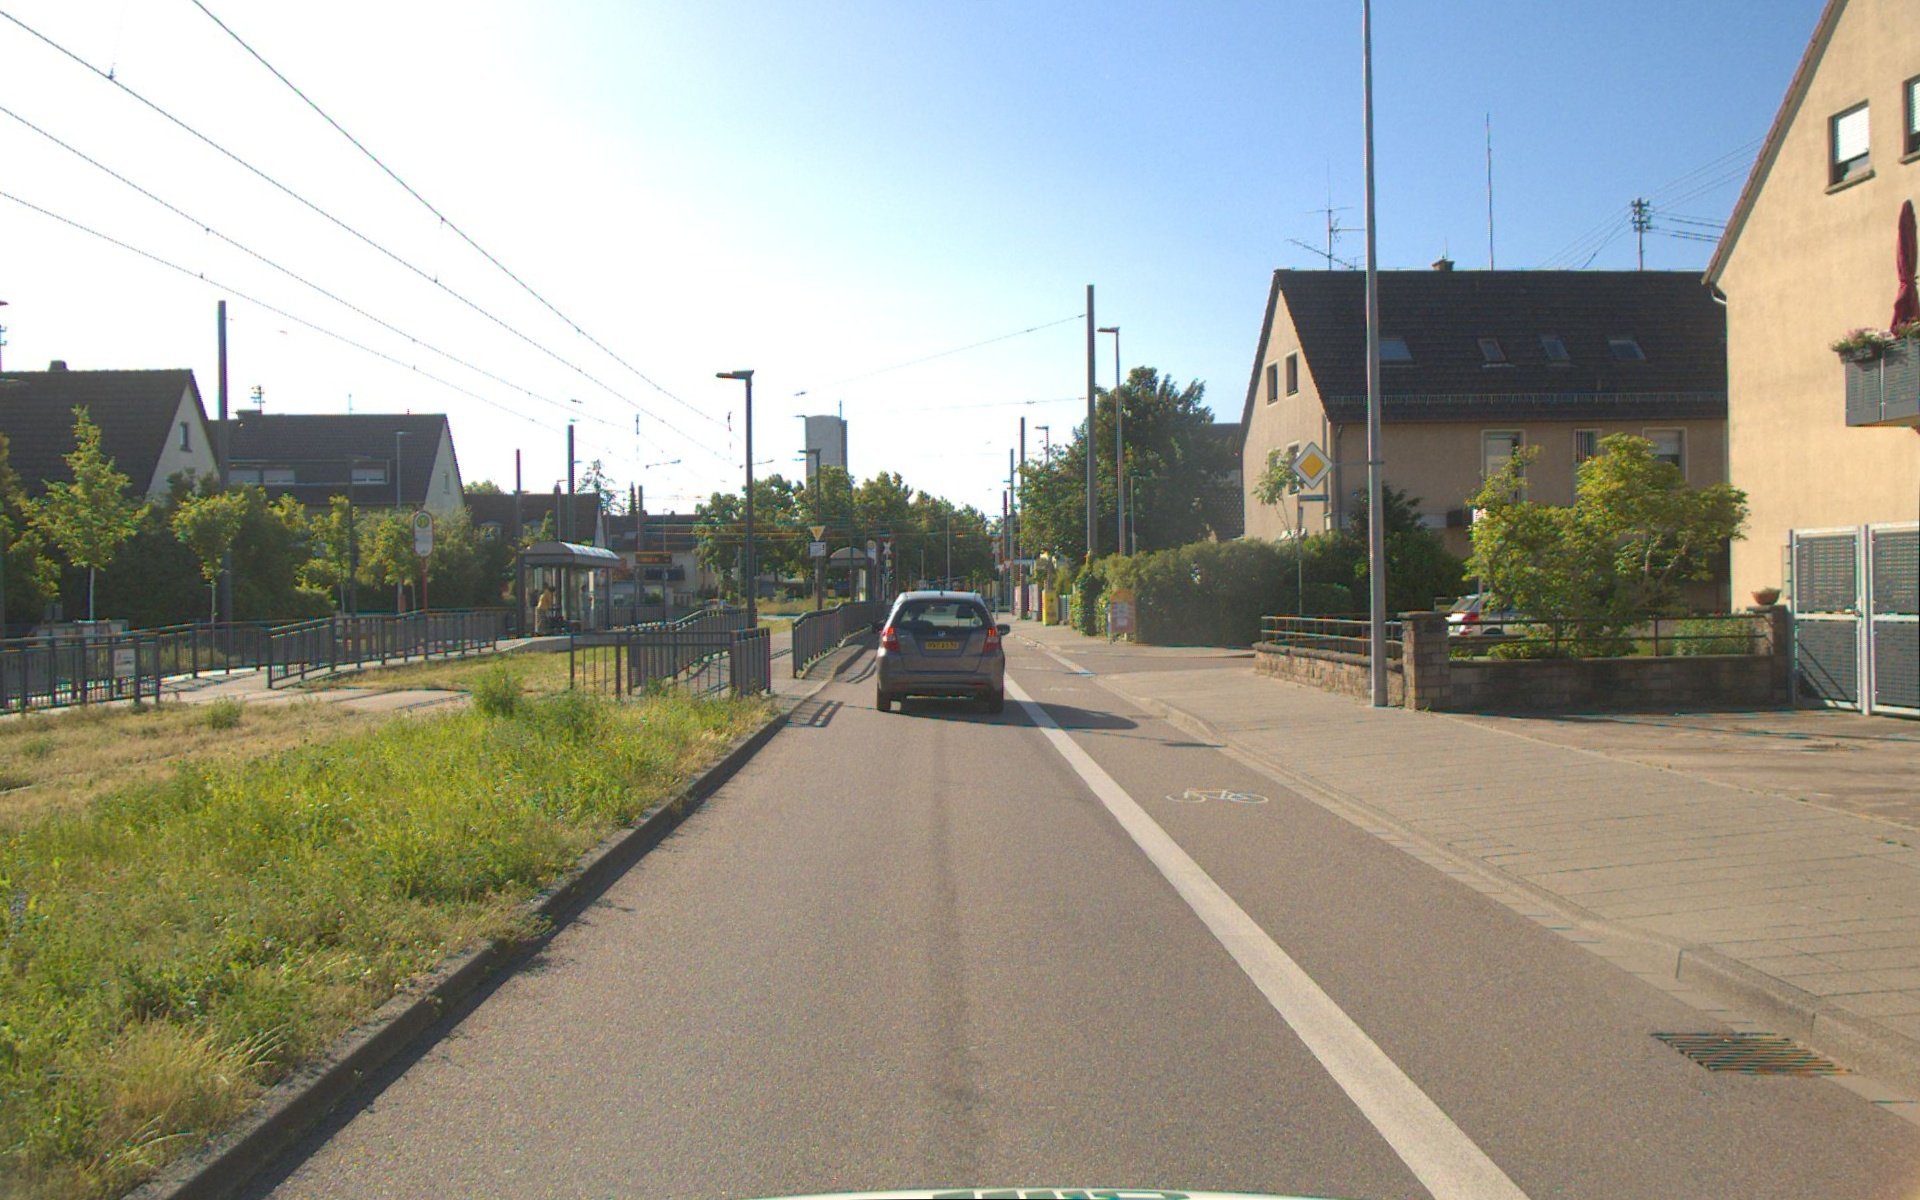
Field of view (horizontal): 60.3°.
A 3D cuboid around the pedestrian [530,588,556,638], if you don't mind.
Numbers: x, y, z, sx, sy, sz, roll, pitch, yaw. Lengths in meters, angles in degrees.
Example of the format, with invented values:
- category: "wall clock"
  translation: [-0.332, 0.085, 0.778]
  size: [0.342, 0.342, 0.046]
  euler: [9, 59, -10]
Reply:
- category: "pedestrian"
  translation: [-13.407, 0.415, 53.136]
  size: [0.662, 1.562, 0.748]
  euler: [-1, 0, -5]

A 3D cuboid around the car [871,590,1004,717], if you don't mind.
- category: "car"
  translation: [-0.330, 0.662, 22.214]
  size: [1.637, 1.562, 3.485]
  euler: [0, 0, -2]

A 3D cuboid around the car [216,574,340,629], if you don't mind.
- category: "car"
  translation: [-25.358, 0.064, 61.622]
  size: [3.913, 2.004, 1.929]
  euler: [0, -1, -9]

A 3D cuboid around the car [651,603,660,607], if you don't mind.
- category: "car"
  translation: [-26.569, 0.460, 144.352]
  size: [0.684, 0.342, 0.329]
  euler: [0, -1, 3]

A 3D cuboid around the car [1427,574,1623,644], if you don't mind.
- category: "car"
  translation: [13.520, 0.223, 39.696]
  size: [4.060, 1.538, 1.799]
  euler: [-2, -1, -7]

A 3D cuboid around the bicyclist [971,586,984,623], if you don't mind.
- category: "bicyclist"
  translation: [0.823, 0.207, 76.580]
  size: [0.586, 1.731, 0.683]
  euler: [0, -1, -1]

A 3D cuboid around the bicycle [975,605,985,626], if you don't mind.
- category: "bicycle"
  translation: [0.924, 0.713, 76.753]
  size: [0.465, 0.978, 1.656]
  euler: [0, 0, -1]

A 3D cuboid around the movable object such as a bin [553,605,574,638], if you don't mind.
- category: "movable object such as a bin"
  translation: [-12.752, 0.690, 53.243]
  size: [0.535, 1.005, 0.741]
  euler: [-1, 0, -5]

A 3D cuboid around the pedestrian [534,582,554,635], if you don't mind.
- category: "pedestrian"
  translation: [-13.740, 0.282, 54.662]
  size: [0.509, 1.738, 0.580]
  euler: [-1, 0, -5]

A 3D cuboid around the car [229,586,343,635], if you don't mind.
- category: "car"
  translation: [-26.156, 0.415, 64.274]
  size: [3.773, 1.838, 1.796]
  euler: [0, -1, -9]
